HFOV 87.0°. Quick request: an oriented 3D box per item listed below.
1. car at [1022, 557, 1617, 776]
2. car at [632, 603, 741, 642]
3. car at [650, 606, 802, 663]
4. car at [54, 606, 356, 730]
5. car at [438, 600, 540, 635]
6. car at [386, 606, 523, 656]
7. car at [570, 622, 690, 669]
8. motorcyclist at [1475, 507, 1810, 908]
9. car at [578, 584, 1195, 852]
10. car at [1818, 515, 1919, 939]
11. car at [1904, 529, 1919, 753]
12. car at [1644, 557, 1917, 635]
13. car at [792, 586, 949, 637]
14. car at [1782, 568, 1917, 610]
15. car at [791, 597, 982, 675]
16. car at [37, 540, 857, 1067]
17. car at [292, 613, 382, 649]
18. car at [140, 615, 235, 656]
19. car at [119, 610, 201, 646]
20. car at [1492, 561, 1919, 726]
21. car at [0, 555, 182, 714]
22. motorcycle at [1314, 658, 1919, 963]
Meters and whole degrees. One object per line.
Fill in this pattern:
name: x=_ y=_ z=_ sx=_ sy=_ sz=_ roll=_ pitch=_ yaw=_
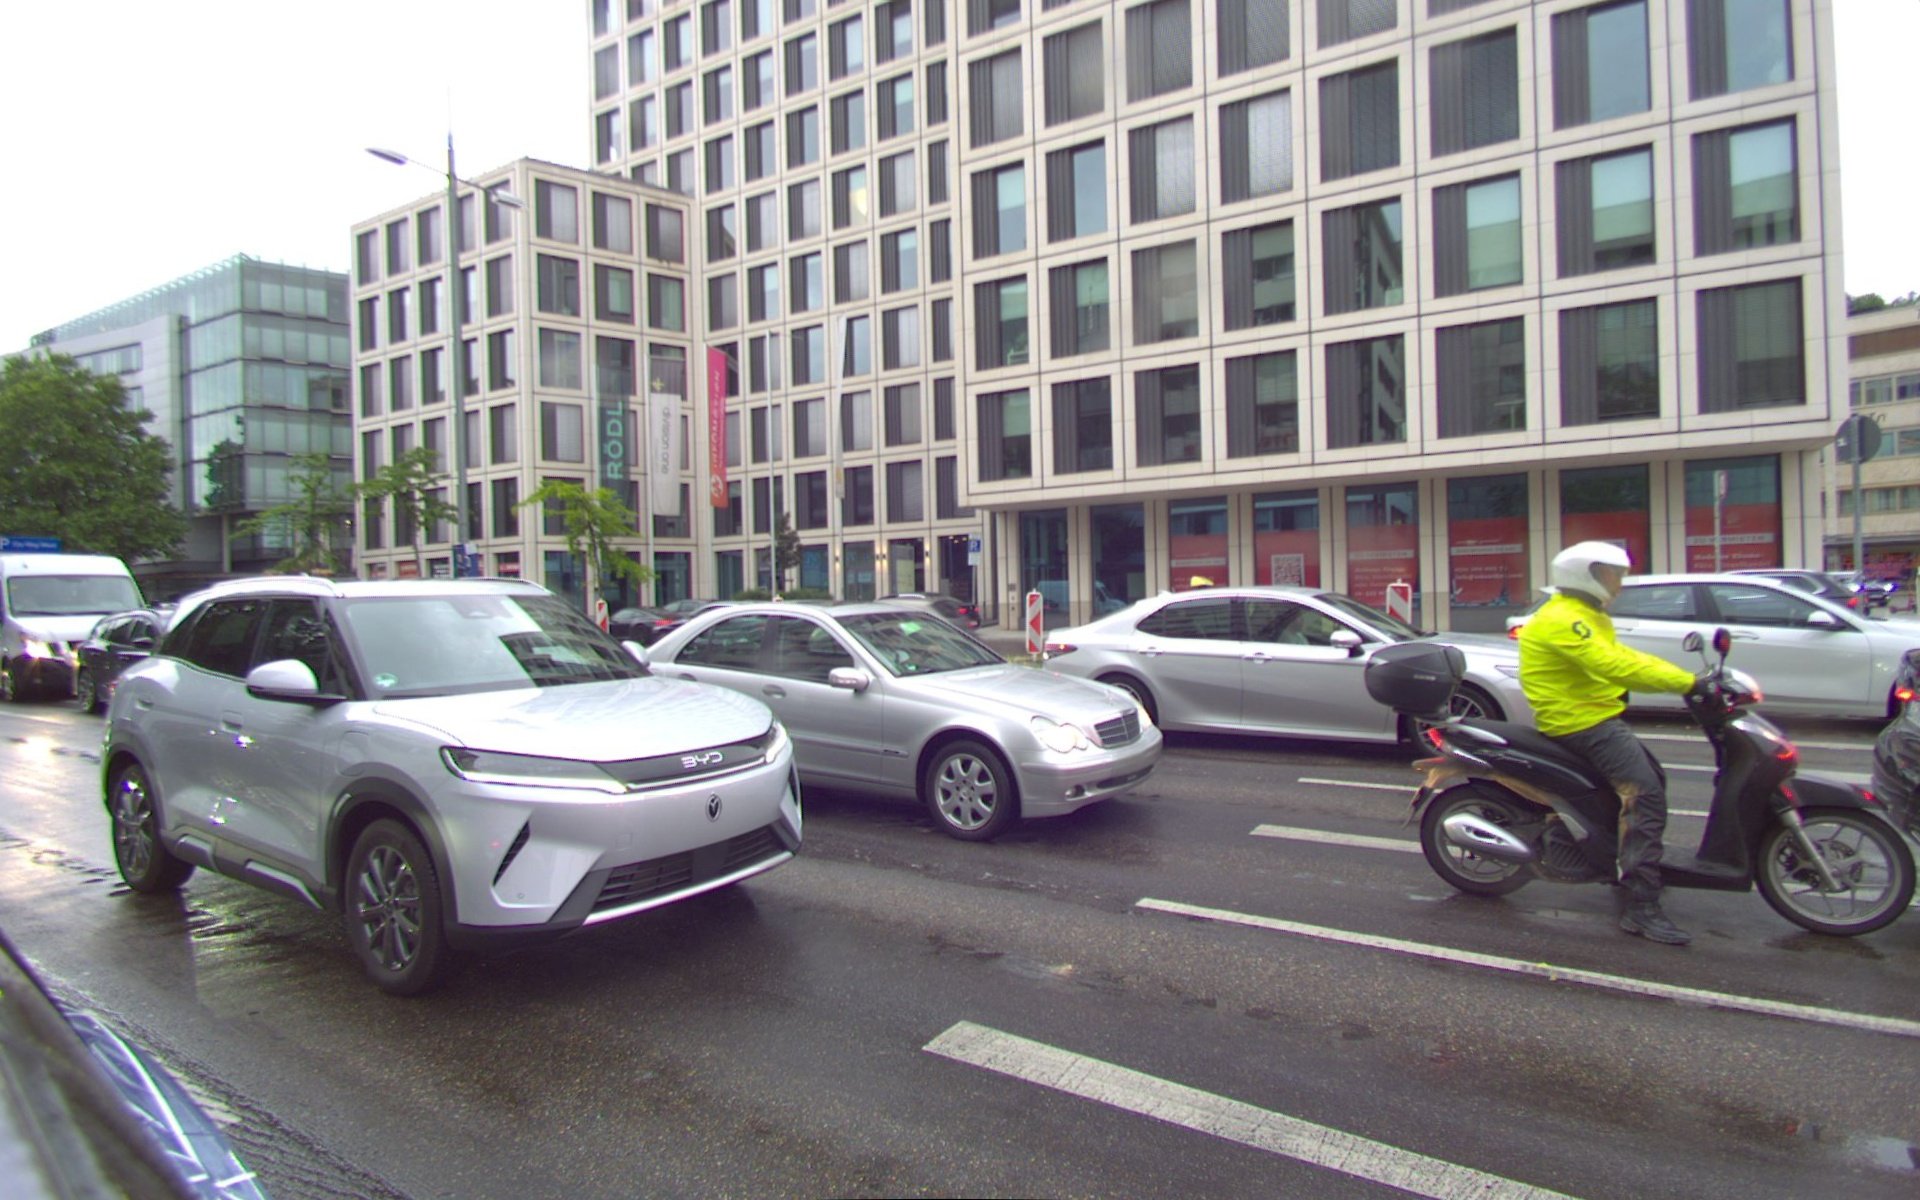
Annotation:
car: x=3.086 y=0.454 z=9.191 sx=4.790 sy=1.532 sz=1.815 roll=0 pitch=1 yaw=35
car: x=-10.312 y=0.853 z=38.137 sx=3.937 sy=1.435 sz=1.687 roll=-1 pitch=-1 yaw=28
car: x=-6.691 y=0.959 z=28.862 sx=4.172 sy=1.530 sz=1.687 roll=-1 pitch=-1 yaw=29
car: x=-10.423 y=0.828 z=13.916 sx=4.227 sy=1.412 sz=1.886 roll=-1 pitch=1 yaw=32
car: x=-19.986 y=0.761 z=42.933 sx=4.354 sy=1.435 sz=1.687 roll=-1 pitch=-1 yaw=28
car: x=-15.350 y=0.935 z=30.684 sx=4.121 sy=1.435 sz=1.687 roll=-1 pitch=-1 yaw=28
car: x=-11.338 y=1.539 z=34.741 sx=3.953 sy=1.530 sz=1.687 roll=-1 pitch=-1 yaw=29
motorcyclist: x=2.895 y=0.391 z=4.432 sx=1.096 sy=1.486 sz=0.935 roll=-1 pitch=1 yaw=30
car: x=-0.690 y=0.634 z=7.381 sx=4.372 sy=1.414 sz=1.718 roll=0 pitch=1 yaw=34
car: x=5.951 y=0.417 z=3.010 sx=4.990 sy=1.526 sz=1.871 roll=0 pitch=1 yaw=35
car: x=8.447 y=0.299 z=5.893 sx=3.983 sy=1.628 sz=1.721 roll=-1 pitch=1 yaw=29
car: x=16.174 y=-0.034 z=20.235 sx=3.937 sy=1.435 sz=1.687 roll=-1 pitch=-1 yaw=28
car: x=-3.025 y=0.413 z=33.652 sx=5.160 sy=1.581 sz=1.687 roll=-1 pitch=-1 yaw=29
car: x=40.048 y=-0.464 z=45.771 sx=1.975 sy=1.752 sz=5.026 roll=-1 pitch=0 yaw=6
car: x=-1.670 y=0.769 z=22.762 sx=3.979 sy=1.586 sz=1.688 roll=-1 pitch=1 yaw=27
car: x=-2.719 y=0.635 z=5.089 sx=4.157 sy=1.673 sz=1.794 roll=0 pitch=1 yaw=33
car: x=-27.463 y=1.350 z=44.606 sx=3.668 sy=1.530 sz=1.688 roll=-1 pitch=-1 yaw=26
car: x=-30.608 y=1.391 z=40.099 sx=3.538 sy=1.530 sz=1.687 roll=-1 pitch=-1 yaw=28
car: x=-47.268 y=1.633 z=59.773 sx=4.892 sy=2.029 sz=1.981 roll=-1 pitch=1 yaw=28
car: x=7.583 y=0.351 z=9.955 sx=3.984 sy=1.383 sz=1.768 roll=0 pitch=1 yaw=35
car: x=-16.139 y=0.511 z=17.888 sx=5.708 sy=2.403 sz=2.234 roll=0 pitch=1 yaw=36
motorcycle: x=2.846 y=0.801 z=4.472 sx=2.285 sy=0.997 sz=0.935 roll=-1 pitch=1 yaw=30
